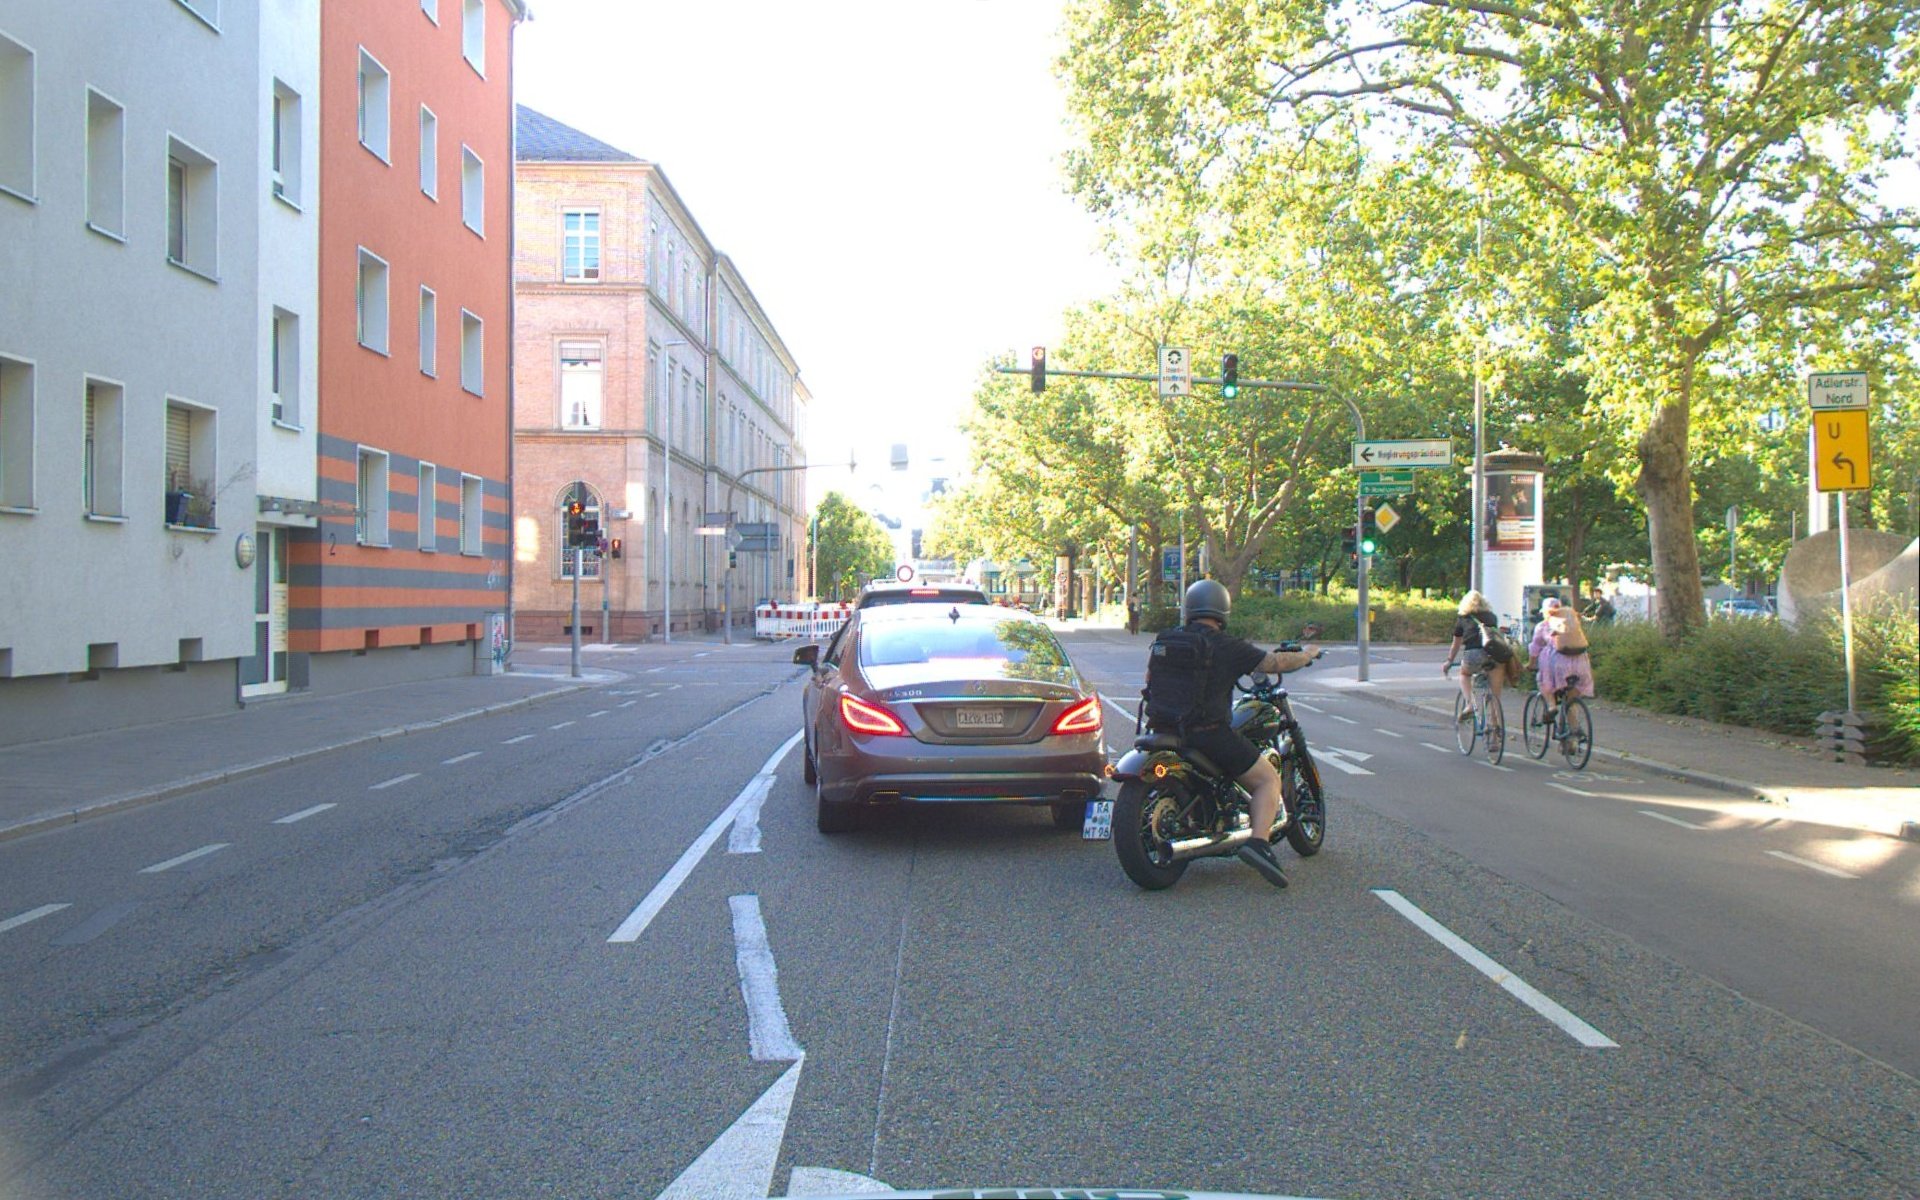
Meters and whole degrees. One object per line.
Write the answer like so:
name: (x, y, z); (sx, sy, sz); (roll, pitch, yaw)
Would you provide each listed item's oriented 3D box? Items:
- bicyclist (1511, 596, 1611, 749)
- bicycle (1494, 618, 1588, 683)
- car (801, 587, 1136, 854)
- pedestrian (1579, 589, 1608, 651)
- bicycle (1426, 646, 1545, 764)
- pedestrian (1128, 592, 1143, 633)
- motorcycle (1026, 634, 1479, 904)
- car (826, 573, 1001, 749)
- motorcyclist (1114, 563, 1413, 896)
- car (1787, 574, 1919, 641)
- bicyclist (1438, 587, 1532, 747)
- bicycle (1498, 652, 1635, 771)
bicyclist: (5.870, 0.689, 16.191); (0.588, 1.426, 0.931); (2, 0, -1)
bicycle: (9.694, 0.834, 27.607); (1.387, 1.055, 0.538); (0, 0, -5)
car: (-0.142, 0.680, 11.622); (1.787, 1.502, 4.346); (0, 0, -7)
pedestrian: (18.586, 0.580, 48.534); (0.607, 1.815, 0.630); (0, 0, 1)
bicycle: (5.228, 1.017, 16.554); (0.598, 1.044, 1.731); (2, 0, -1)
pedestrian: (7.271, 0.516, 68.683); (0.548, 1.707, 0.564); (0, 0, -1)
motorcycle: (1.669, 0.828, 9.081); (2.639, 1.225, 0.996); (0, 0, -40)
car: (-0.503, 0.575, 17.508); (1.647, 1.653, 3.839); (0, 0, -2)
motorcyclist: (1.641, 0.633, 8.964); (1.190, 1.641, 1.101); (0, 0, -39)
car: (25.680, 0.196, 46.468); (3.912, 1.815, 2.001); (0, 0, 4)
bicyclist: (5.236, 0.647, 16.532); (0.598, 1.542, 0.889); (2, 0, -1)
bicycle: (5.866, 1.048, 16.102); (0.588, 1.002, 1.881); (2, 0, -1)
